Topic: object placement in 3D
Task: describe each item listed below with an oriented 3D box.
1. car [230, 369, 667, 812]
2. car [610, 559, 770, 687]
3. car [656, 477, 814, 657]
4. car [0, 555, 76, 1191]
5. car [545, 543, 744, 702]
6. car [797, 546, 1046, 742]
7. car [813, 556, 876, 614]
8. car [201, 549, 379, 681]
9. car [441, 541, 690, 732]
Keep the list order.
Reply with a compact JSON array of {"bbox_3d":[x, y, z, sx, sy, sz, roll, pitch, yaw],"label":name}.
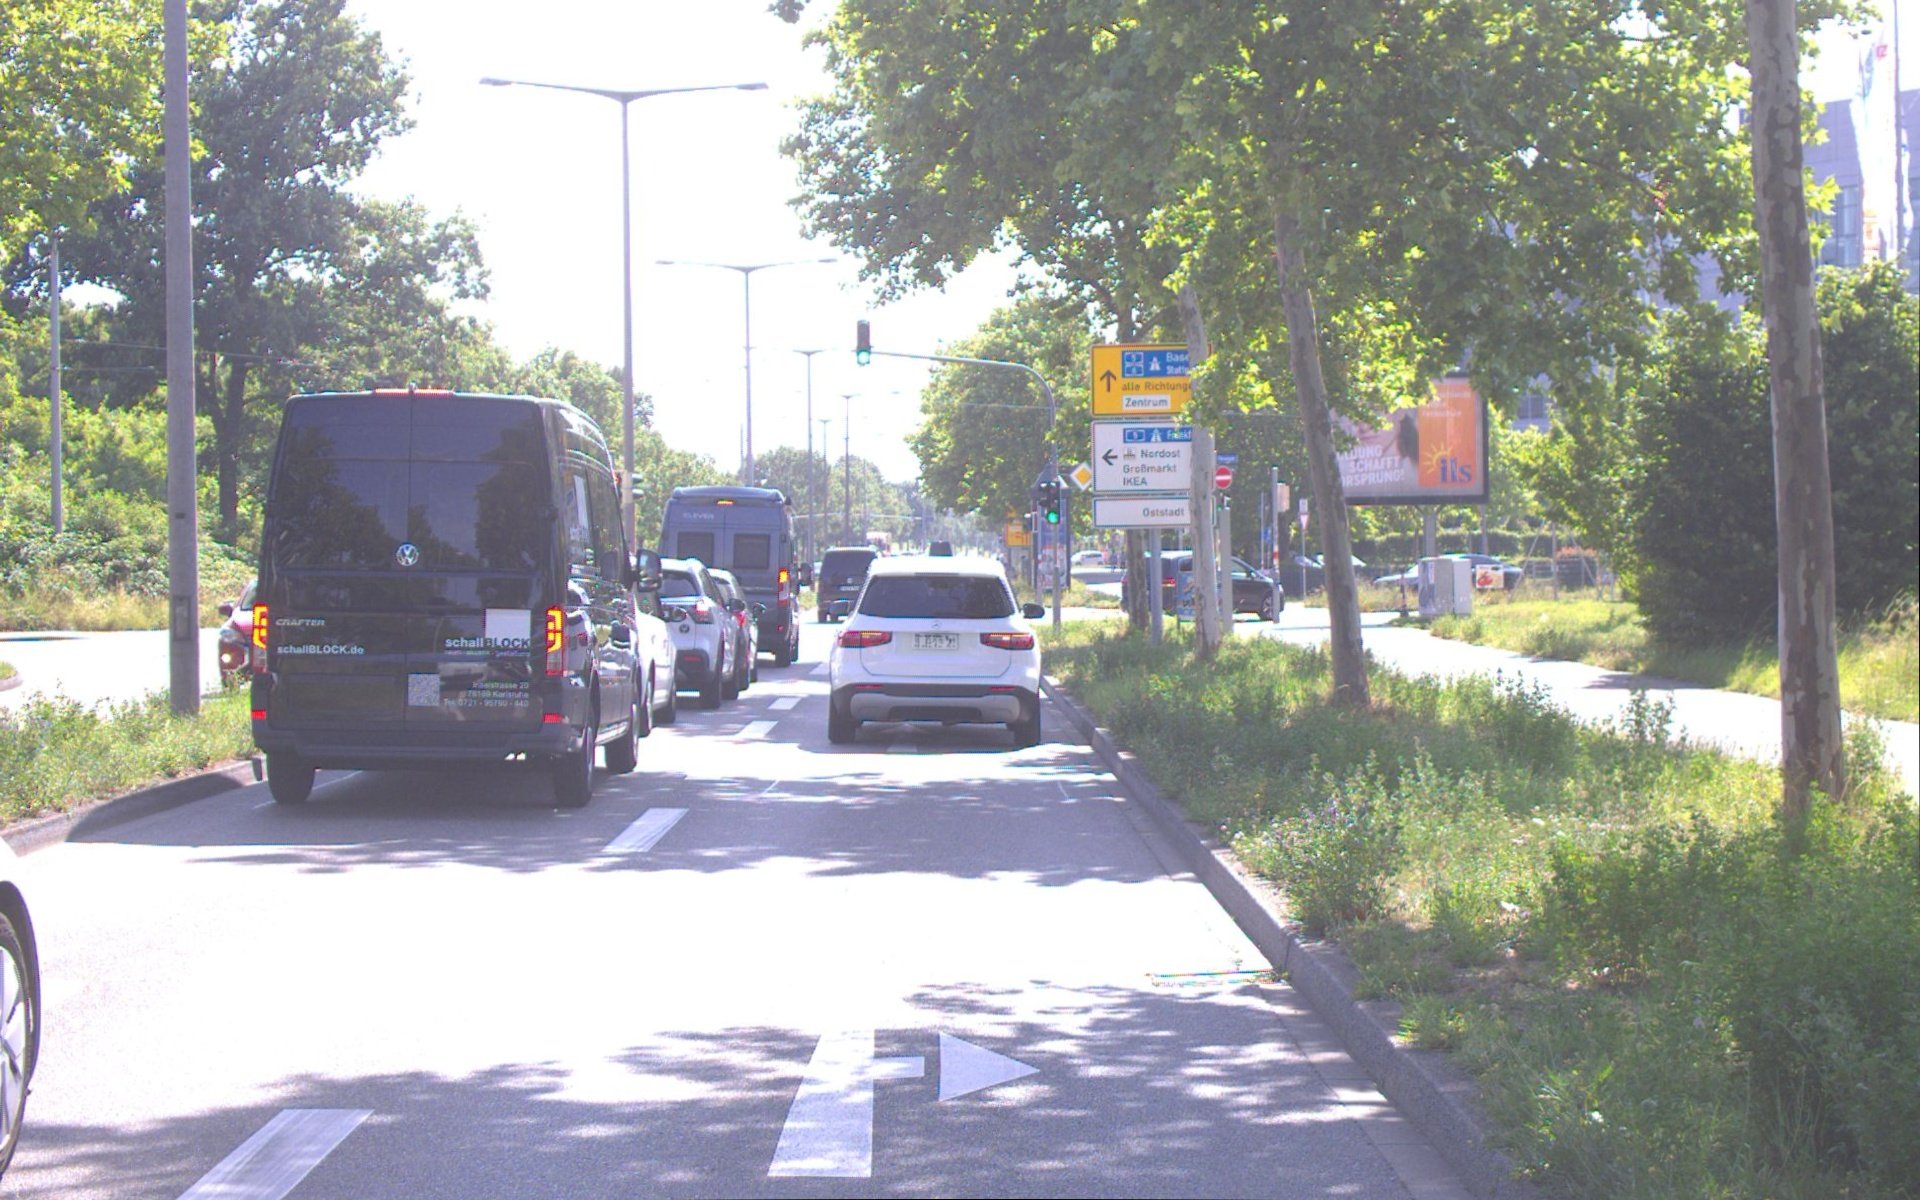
[{"bbox_3d":[-3.288,-0.078,23.405,2.016,2.598,6.168,1,0,0],"label":"car"},{"bbox_3d":[-3.355,0.257,43.309,1.691,1.499,3.886,1,1,0],"label":"car"},{"bbox_3d":[-3.452,-0.508,53.640,2.081,2.647,4.874,1,0,0],"label":"car"},{"bbox_3d":[-3.192,0.664,6.779,1.819,1.516,4.208,0,1,0],"label":"car"},{"bbox_3d":[-3.396,0.218,37.645,1.771,1.641,4.084,0,0,0],"label":"car"},{"bbox_3d":[-0.416,0.341,30.815,1.853,1.602,4.001,1,1,-6],"label":"car"},{"bbox_3d":[-2.848,-0.381,84.913,1.464,1.399,3.477,0,1,-1],"label":"car"},{"bbox_3d":[-8.376,0.160,43.248,1.853,1.578,4.176,0,1,-6],"label":"car"},{"bbox_3d":[-3.576,0.300,31.864,1.771,1.641,4.352,0,0,0],"label":"car"}]
